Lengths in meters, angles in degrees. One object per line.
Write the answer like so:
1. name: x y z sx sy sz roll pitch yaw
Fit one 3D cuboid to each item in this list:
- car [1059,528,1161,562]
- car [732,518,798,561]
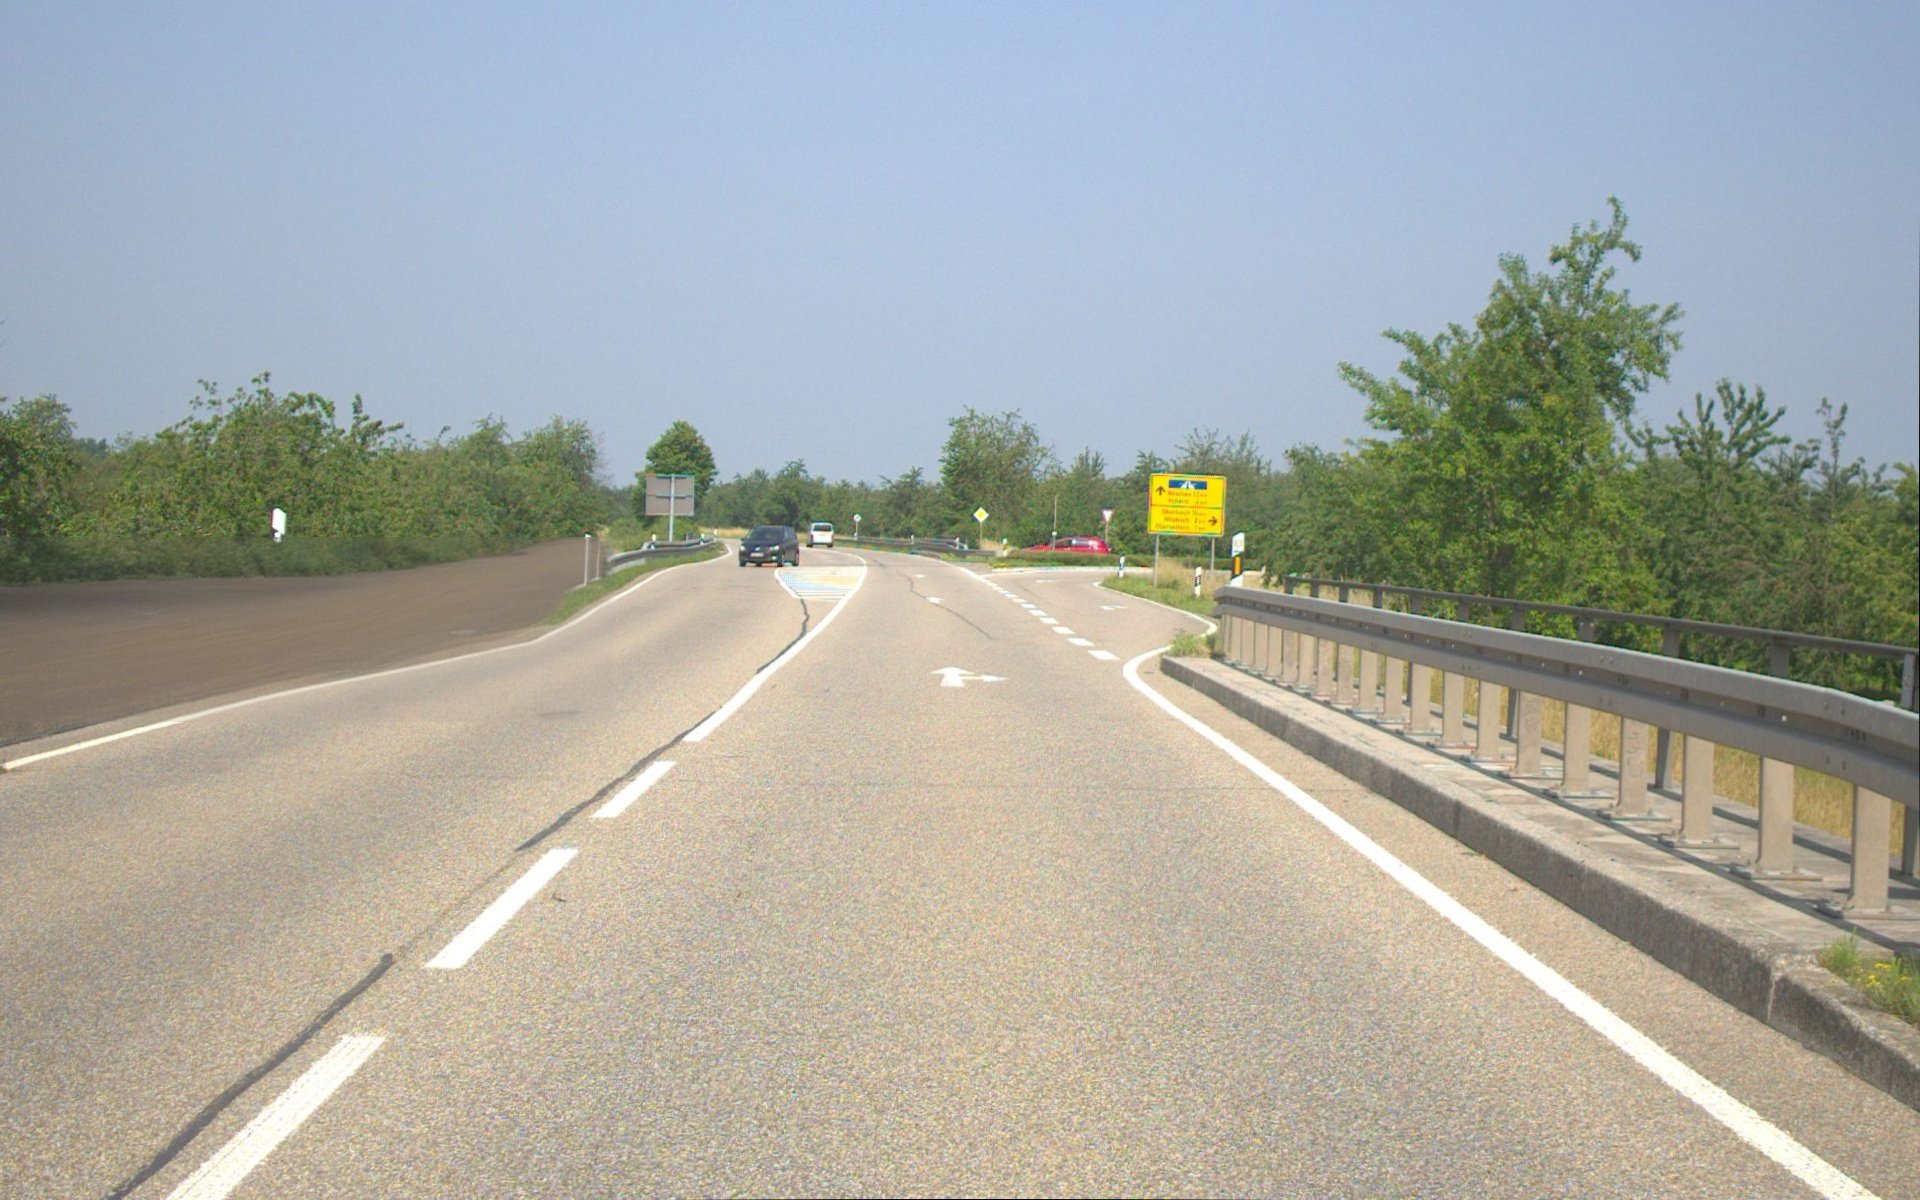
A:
1. car: 6.762 -2.468 154.873 4.481 1.444 1.821 1 1 6
2. car: -7.791 -2.419 137.854 1.804 1.632 4.808 1 1 7
